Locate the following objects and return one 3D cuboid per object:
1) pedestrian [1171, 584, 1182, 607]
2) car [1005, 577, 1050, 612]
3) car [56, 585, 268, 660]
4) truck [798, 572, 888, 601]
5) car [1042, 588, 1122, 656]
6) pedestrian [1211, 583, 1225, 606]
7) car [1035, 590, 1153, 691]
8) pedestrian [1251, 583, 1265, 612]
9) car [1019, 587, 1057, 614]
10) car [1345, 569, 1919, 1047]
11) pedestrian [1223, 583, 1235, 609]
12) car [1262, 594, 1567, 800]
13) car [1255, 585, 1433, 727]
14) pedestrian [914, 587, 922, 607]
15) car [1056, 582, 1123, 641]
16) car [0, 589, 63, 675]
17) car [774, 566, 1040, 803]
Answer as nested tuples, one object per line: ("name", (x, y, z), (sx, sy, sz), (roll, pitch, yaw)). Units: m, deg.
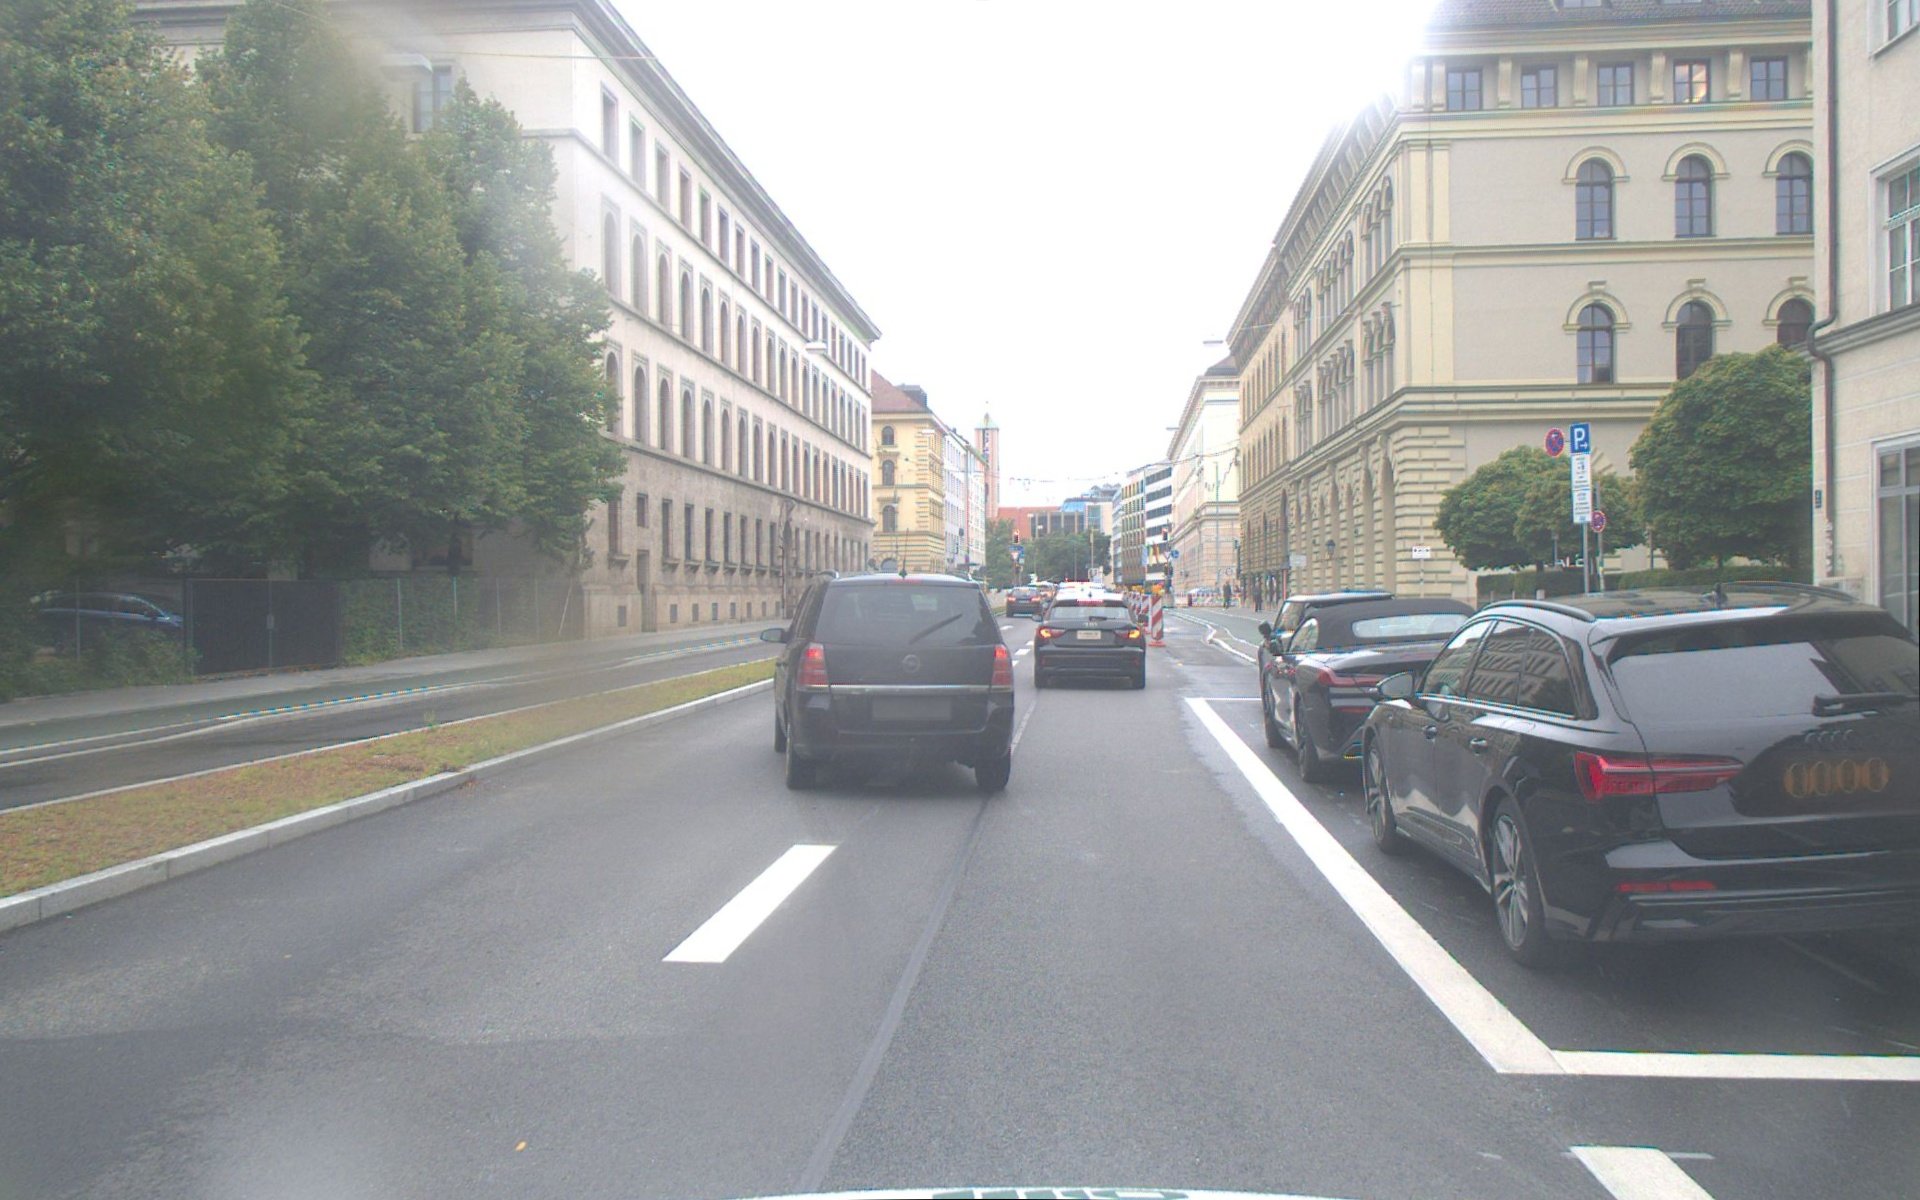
("pedestrian", (16.136, -0.335, 123.291), (0.736, 1.646, 0.713), (-1, 0, 13))
("car", (3.306, -0.290, 80.242), (1.951, 1.656, 4.003), (-1, 0, 5))
("car", (-18.984, 0.510, 39.442), (4.172, 1.678, 1.806), (-1, 0, 5))
("truck", (-9.936, -1.164, 140.680), (7.229, 2.292, 2.181), (1, 0, 7))
("car", (2.804, 0.462, 37.751), (1.693, 1.427, 4.003), (1, 1, 5))
("pedestrian", (18.808, -0.385, 120.623), (0.701, 1.646, 0.748), (-1, 0, -25))
("car", (2.125, 0.579, 26.162), (1.693, 1.427, 4.003), (1, 1, 5))
("pedestrian", (17.126, -0.171, 95.054), (0.695, 1.646, 0.755), (-1, 0, 4))
("car", (4.461, 0.015, 93.761), (1.951, 1.469, 4.003), (-1, 0, 5))
("car", (3.168, 0.683, 7.841), (1.771, 1.506, 4.464), (-4, 0, 3))
("pedestrian", (16.726, -0.250, 102.801), (0.695, 1.646, 0.755), (-1, 0, 4))
("car", (3.720, 0.690, 14.349), (1.787, 1.432, 4.723), (1, 1, 6))
("car", (4.590, 0.600, 20.233), (1.639, 1.547, 3.832), (1, 1, 6))
("pedestrian", (-3.812, -0.296, 149.500), (0.642, 1.836, 0.728), (-1, 0, 4))
("car", (3.456, 0.265, 44.024), (1.693, 1.486, 4.003), (1, 1, 5))
("car", (-19.934, 0.626, 32.261), (4.057, 1.616, 1.806), (-1, 0, 12))
("car", (-0.587, 0.566, 13.601), (1.732, 1.644, 4.022), (0, 1, -8))
